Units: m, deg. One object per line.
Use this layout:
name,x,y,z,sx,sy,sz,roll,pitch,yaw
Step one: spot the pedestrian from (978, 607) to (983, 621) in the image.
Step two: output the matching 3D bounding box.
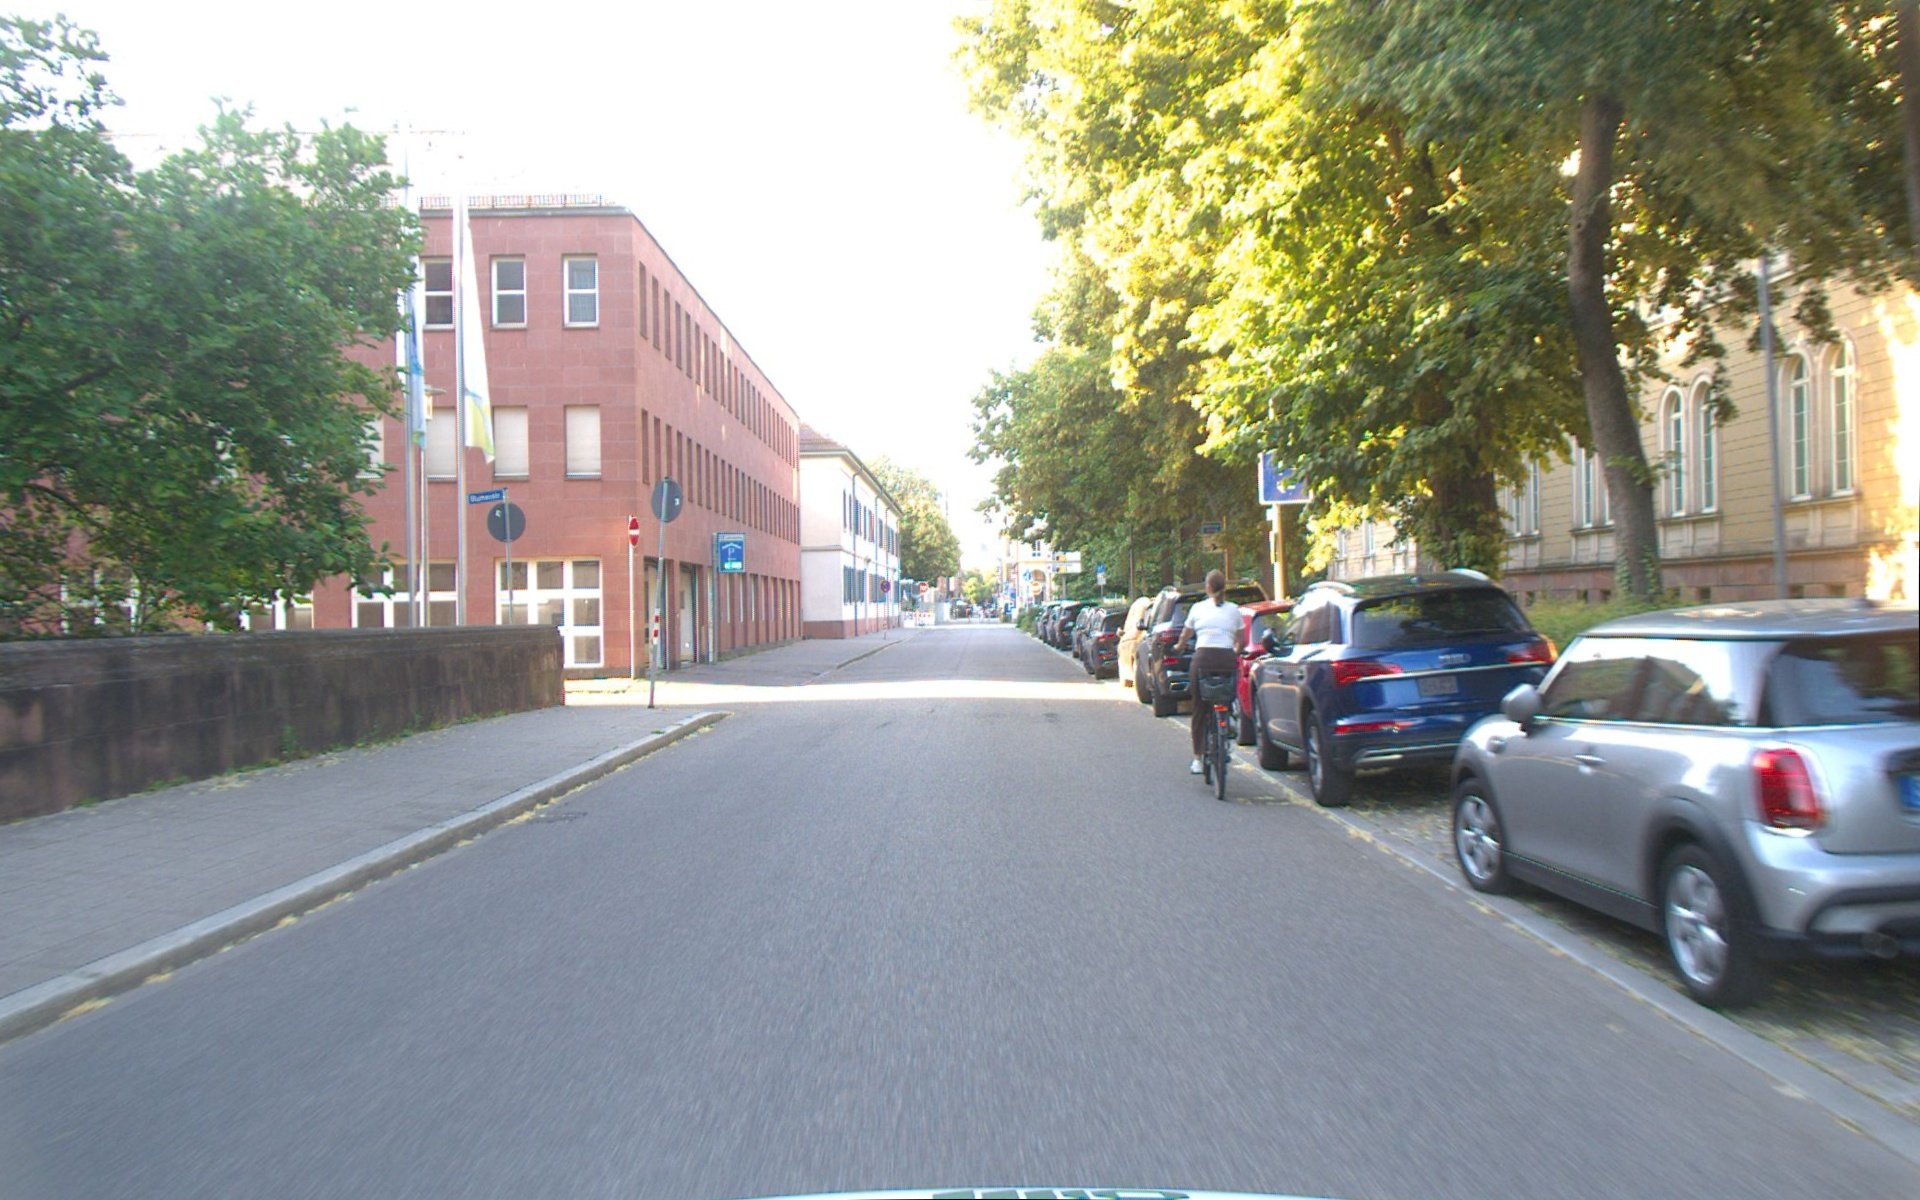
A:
pedestrian,2.209,1.453,176.097,0.523,1.497,0.448,-2,0,-1

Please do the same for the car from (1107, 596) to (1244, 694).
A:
car,3.903,0.788,30.584,1.953,1.624,4.000,-2,0,0

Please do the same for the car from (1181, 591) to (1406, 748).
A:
car,3.722,0.716,19.120,1.681,1.564,4.047,-2,0,-1

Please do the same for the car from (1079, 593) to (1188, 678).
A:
car,3.806,0.755,36.977,1.953,1.735,4.000,-2,0,0

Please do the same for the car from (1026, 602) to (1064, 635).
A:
car,4.855,1.067,95.076,1.953,1.779,4.000,-2,0,0

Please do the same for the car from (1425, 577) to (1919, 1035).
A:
car,3.487,0.689,7.379,1.651,1.472,3.671,-4,-1,-1

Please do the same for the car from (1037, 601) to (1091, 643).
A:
car,4.339,0.909,69.491,1.953,1.657,4.000,-2,0,0

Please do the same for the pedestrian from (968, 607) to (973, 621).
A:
pedestrian,1.116,1.503,177.976,0.523,1.497,0.448,-2,0,-1

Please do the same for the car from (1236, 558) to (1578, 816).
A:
car,3.487,0.607,13.756,1.680,1.742,4.473,-2,0,1

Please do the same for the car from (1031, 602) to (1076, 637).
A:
car,4.695,0.946,83.587,1.953,1.657,4.000,-2,0,0

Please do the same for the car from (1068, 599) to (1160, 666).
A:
car,3.896,0.800,42.481,1.953,1.557,4.000,-2,0,0

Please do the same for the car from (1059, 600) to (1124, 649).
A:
car,4.628,0.845,58.664,1.953,1.612,4.000,-2,0,0

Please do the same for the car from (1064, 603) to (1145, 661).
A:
car,4.177,0.893,48.209,1.953,1.557,4.000,-2,0,0

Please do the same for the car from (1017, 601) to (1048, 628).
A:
car,6.352,1.250,145.508,2.442,2.234,4.909,-2,0,0

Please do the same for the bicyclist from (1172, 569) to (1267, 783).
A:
bicyclist,2.117,0.607,13.557,0.626,1.696,0.842,0,0,-1

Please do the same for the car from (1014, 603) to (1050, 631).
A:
car,5.088,1.206,117.290,2.235,1.886,4.909,-2,0,0

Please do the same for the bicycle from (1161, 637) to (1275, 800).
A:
bicycle,2.110,0.937,13.737,0.625,1.214,1.875,0,0,-1

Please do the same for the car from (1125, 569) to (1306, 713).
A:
car,3.599,0.549,24.023,1.953,1.847,4.000,-2,0,0
